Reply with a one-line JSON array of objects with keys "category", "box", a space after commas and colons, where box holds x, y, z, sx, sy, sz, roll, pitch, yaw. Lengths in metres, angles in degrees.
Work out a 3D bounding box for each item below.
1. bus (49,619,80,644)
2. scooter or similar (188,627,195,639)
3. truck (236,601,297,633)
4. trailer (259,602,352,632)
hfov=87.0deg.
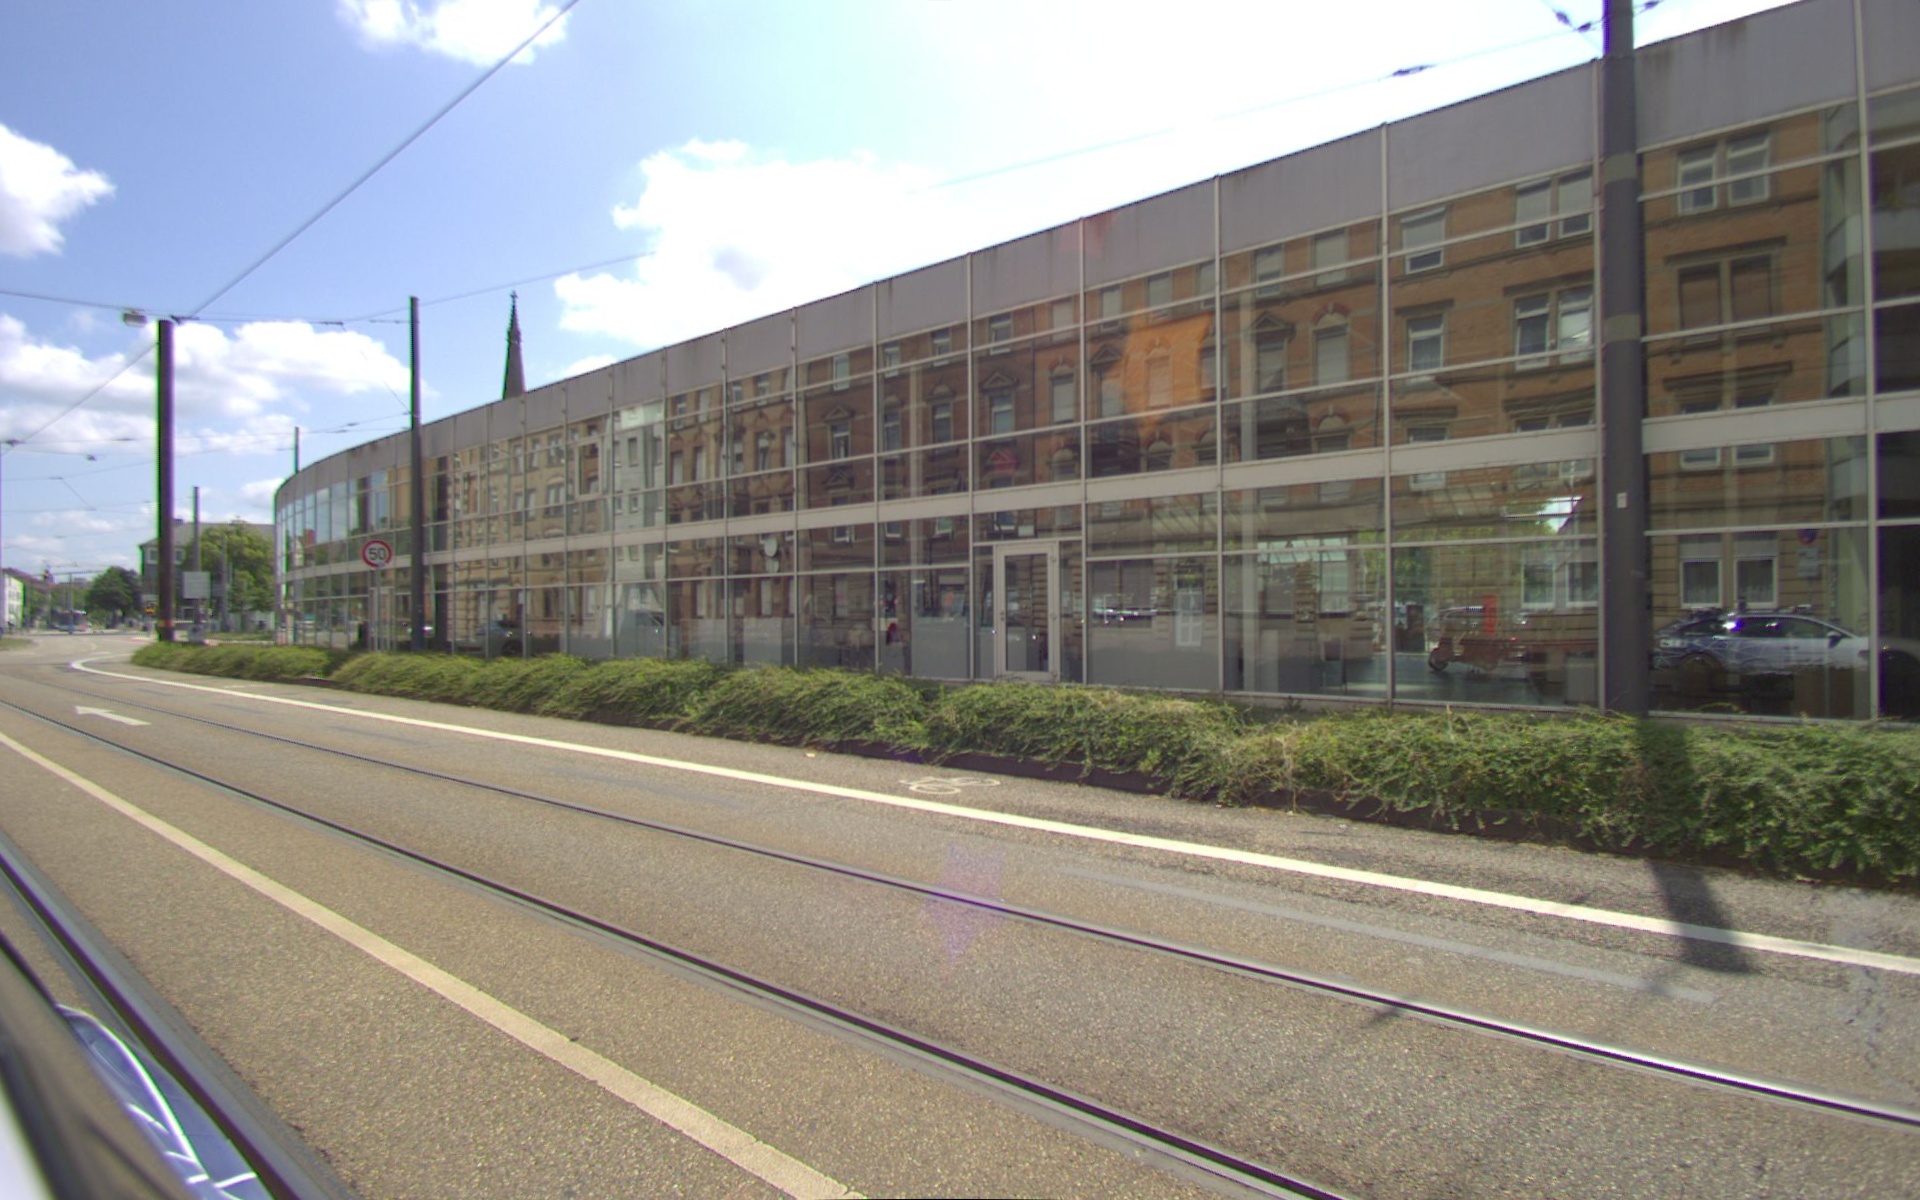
[{"category": "bus", "box": [-130.123, 4.534, 147.075, 2.904, 3.474, 7.963, 0, -2, -38]}, {"category": "scooter or similar", "box": [-79.362, 3.373, 104.565, 0.549, 1.209, 0.456, -2, -2, 40]}, {"category": "truck", "box": [-94.853, 2.300, 138.580, 2.931, 4.150, 6.857, -1, -1, 10]}, {"category": "trailer", "box": [-93.727, 2.367, 145.342, 2.916, 4.107, 13.379, -1, -1, 9]}]
